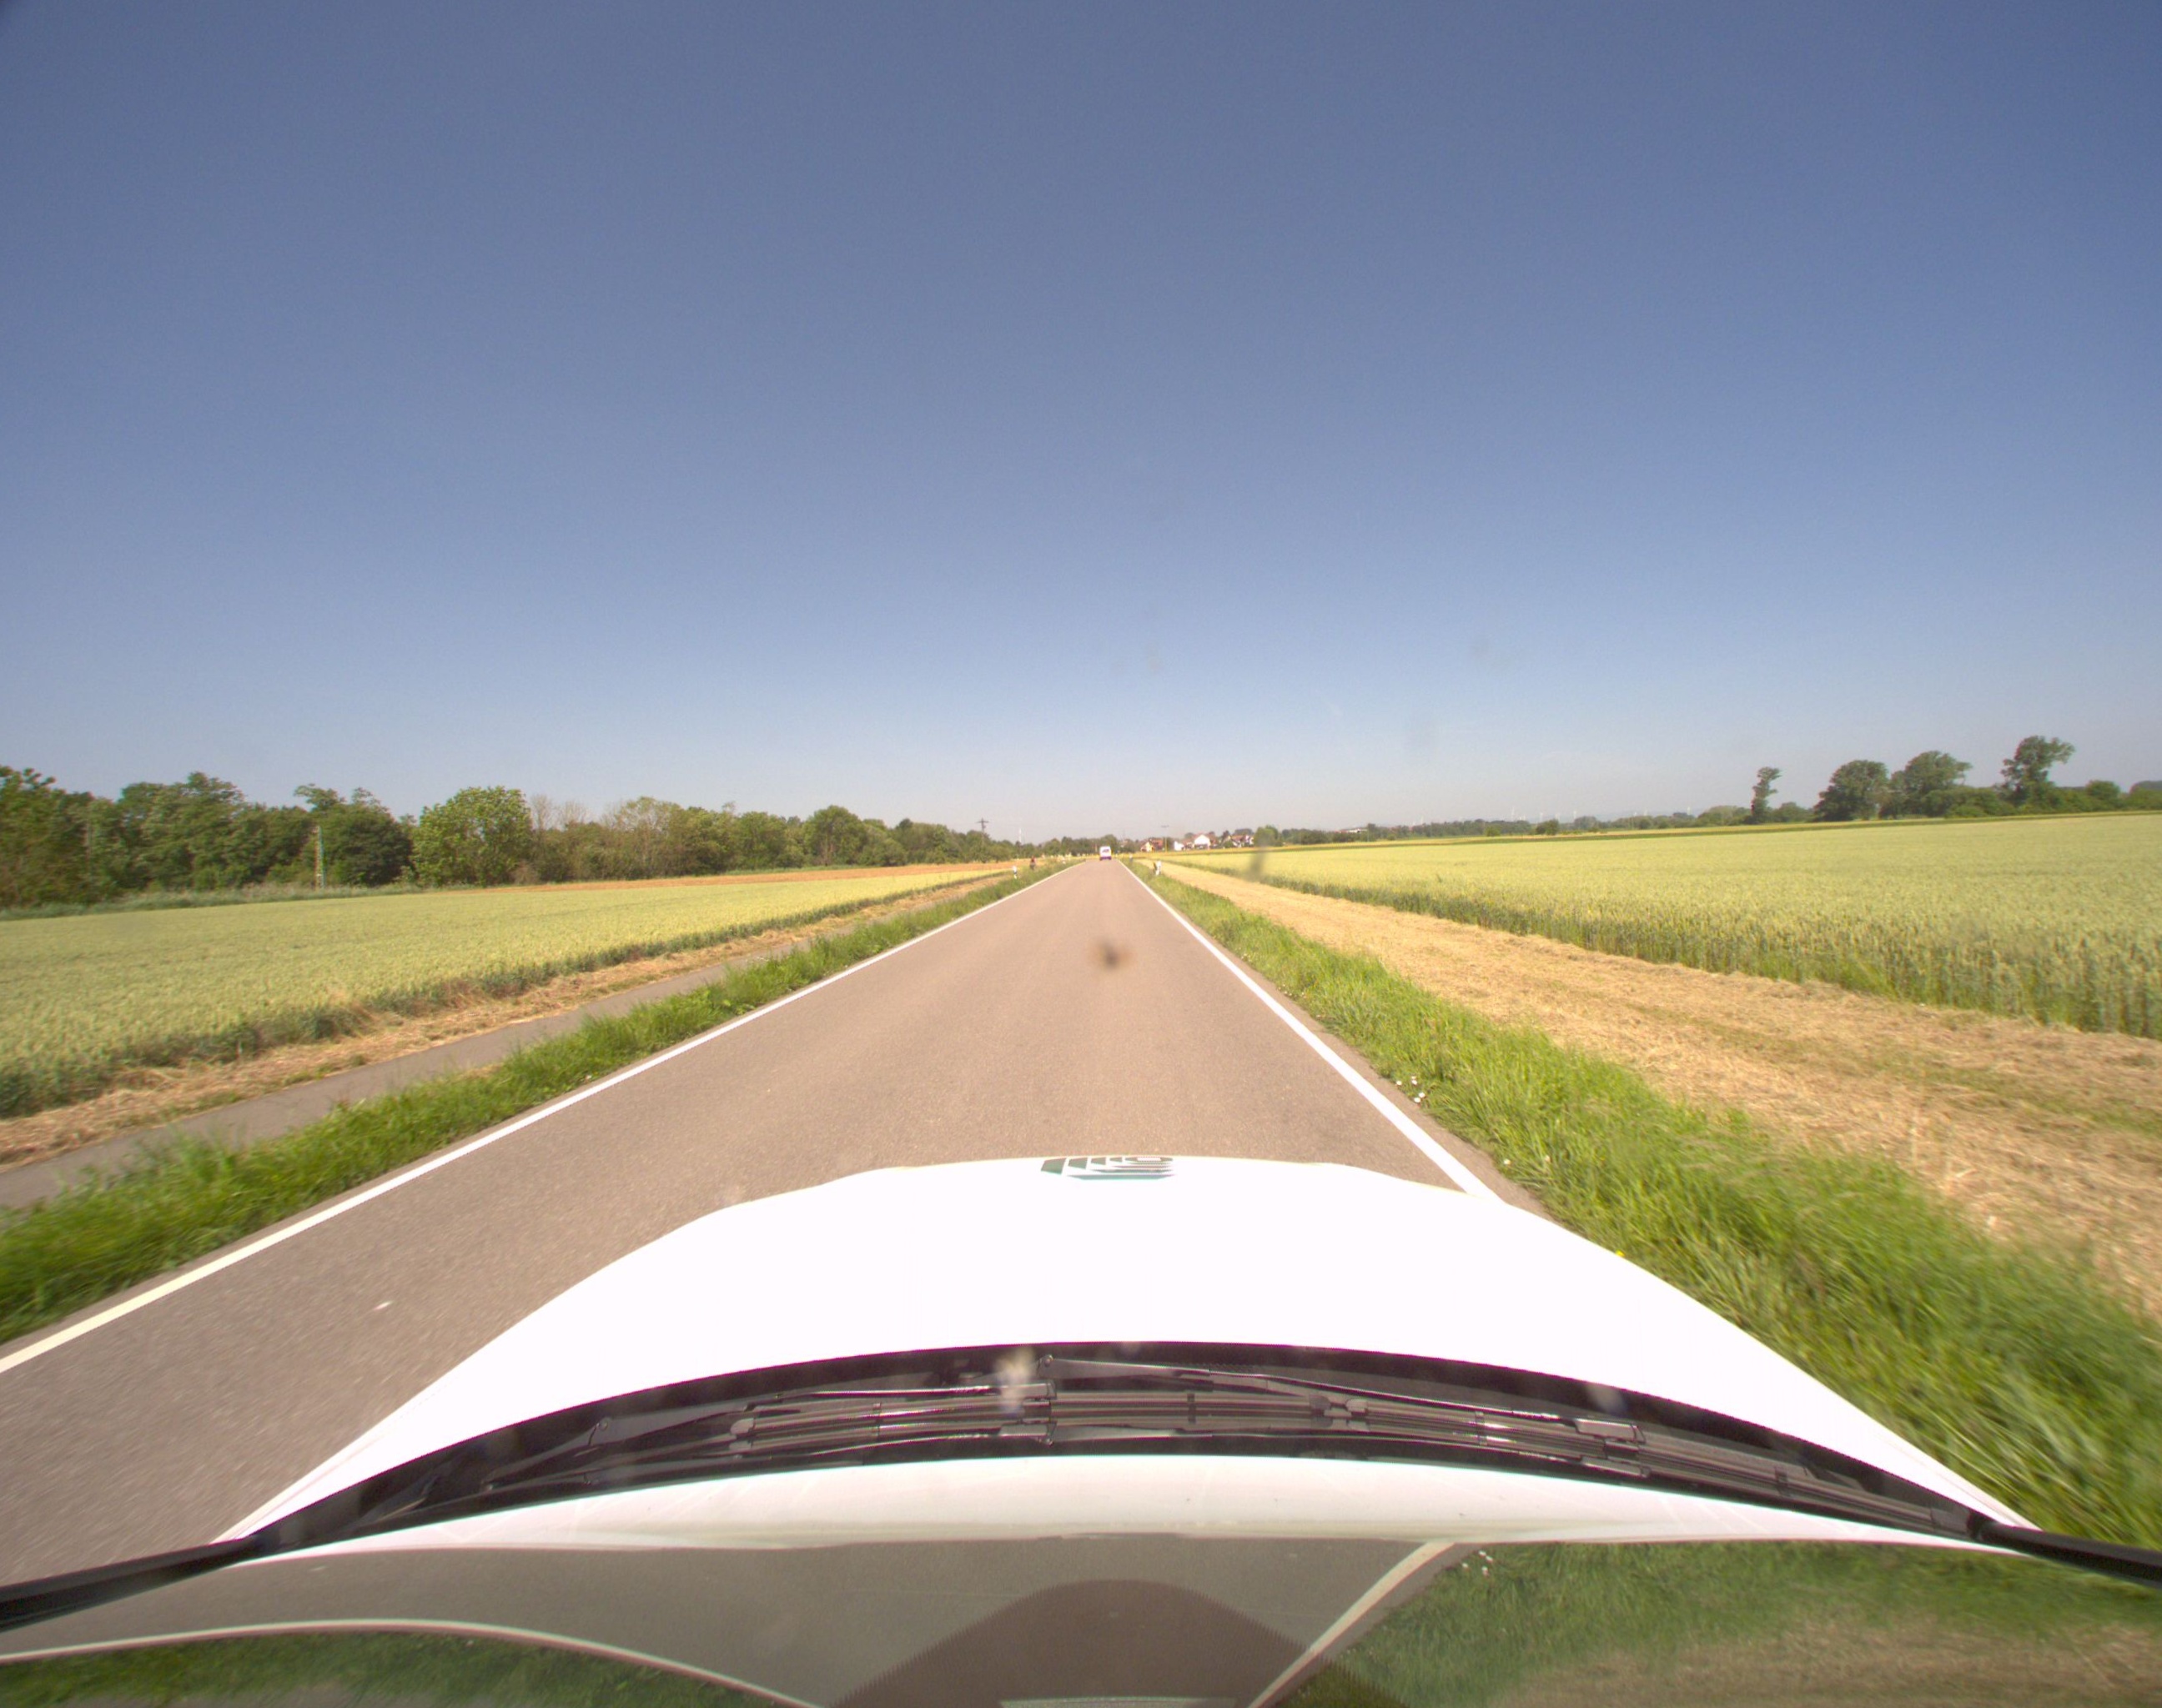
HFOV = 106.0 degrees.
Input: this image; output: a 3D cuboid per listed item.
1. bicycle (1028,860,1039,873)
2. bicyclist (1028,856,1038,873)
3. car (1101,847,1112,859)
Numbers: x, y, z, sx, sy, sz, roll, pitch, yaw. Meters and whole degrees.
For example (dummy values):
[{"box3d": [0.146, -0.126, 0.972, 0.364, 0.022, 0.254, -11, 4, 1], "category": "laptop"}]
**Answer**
[{"box3d": [-4.759, 1.254, 81.274, 0.756, 1.236, 2.395, -4, 0, 2], "category": "bicycle"}, {"box3d": [-4.762, 1.019, 81.141, 0.757, 1.672, 1.089, -4, 0, 2], "category": "bicyclist"}, {"box3d": [4.899, -0.209, 155.341, 2.099, 2.304, 5.497, -1, 0, 2], "category": "car"}]
